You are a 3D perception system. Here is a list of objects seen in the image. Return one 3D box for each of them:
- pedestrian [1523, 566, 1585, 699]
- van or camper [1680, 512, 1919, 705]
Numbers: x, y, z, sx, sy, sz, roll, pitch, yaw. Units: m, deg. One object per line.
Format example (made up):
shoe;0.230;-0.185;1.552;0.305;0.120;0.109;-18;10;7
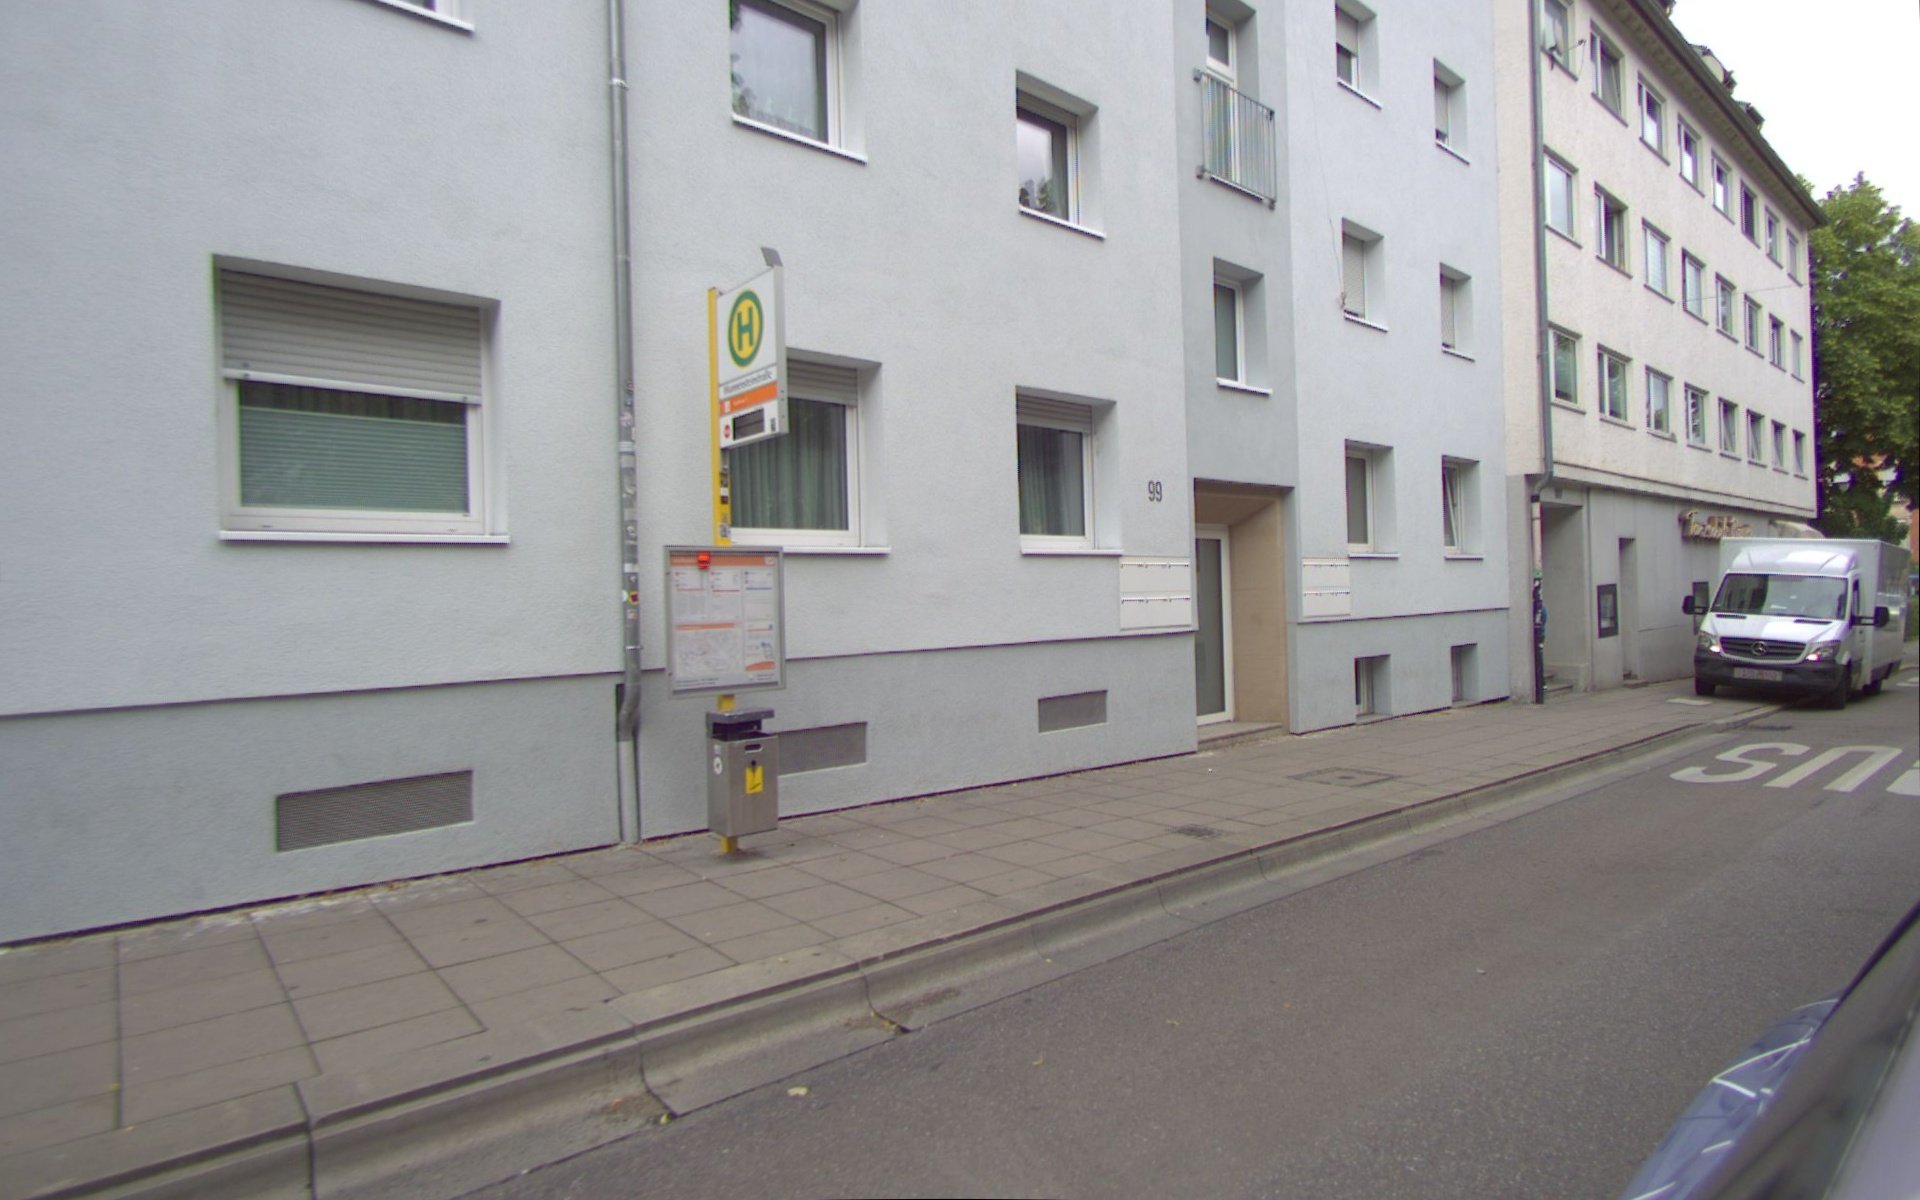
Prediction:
pedestrian;9.402;0.502;16.017;0.674;2.039;0.635;0;-1;-40
van or camper;15.384;0.068;18.244;7.115;2.837;2.483;0;2;-43
